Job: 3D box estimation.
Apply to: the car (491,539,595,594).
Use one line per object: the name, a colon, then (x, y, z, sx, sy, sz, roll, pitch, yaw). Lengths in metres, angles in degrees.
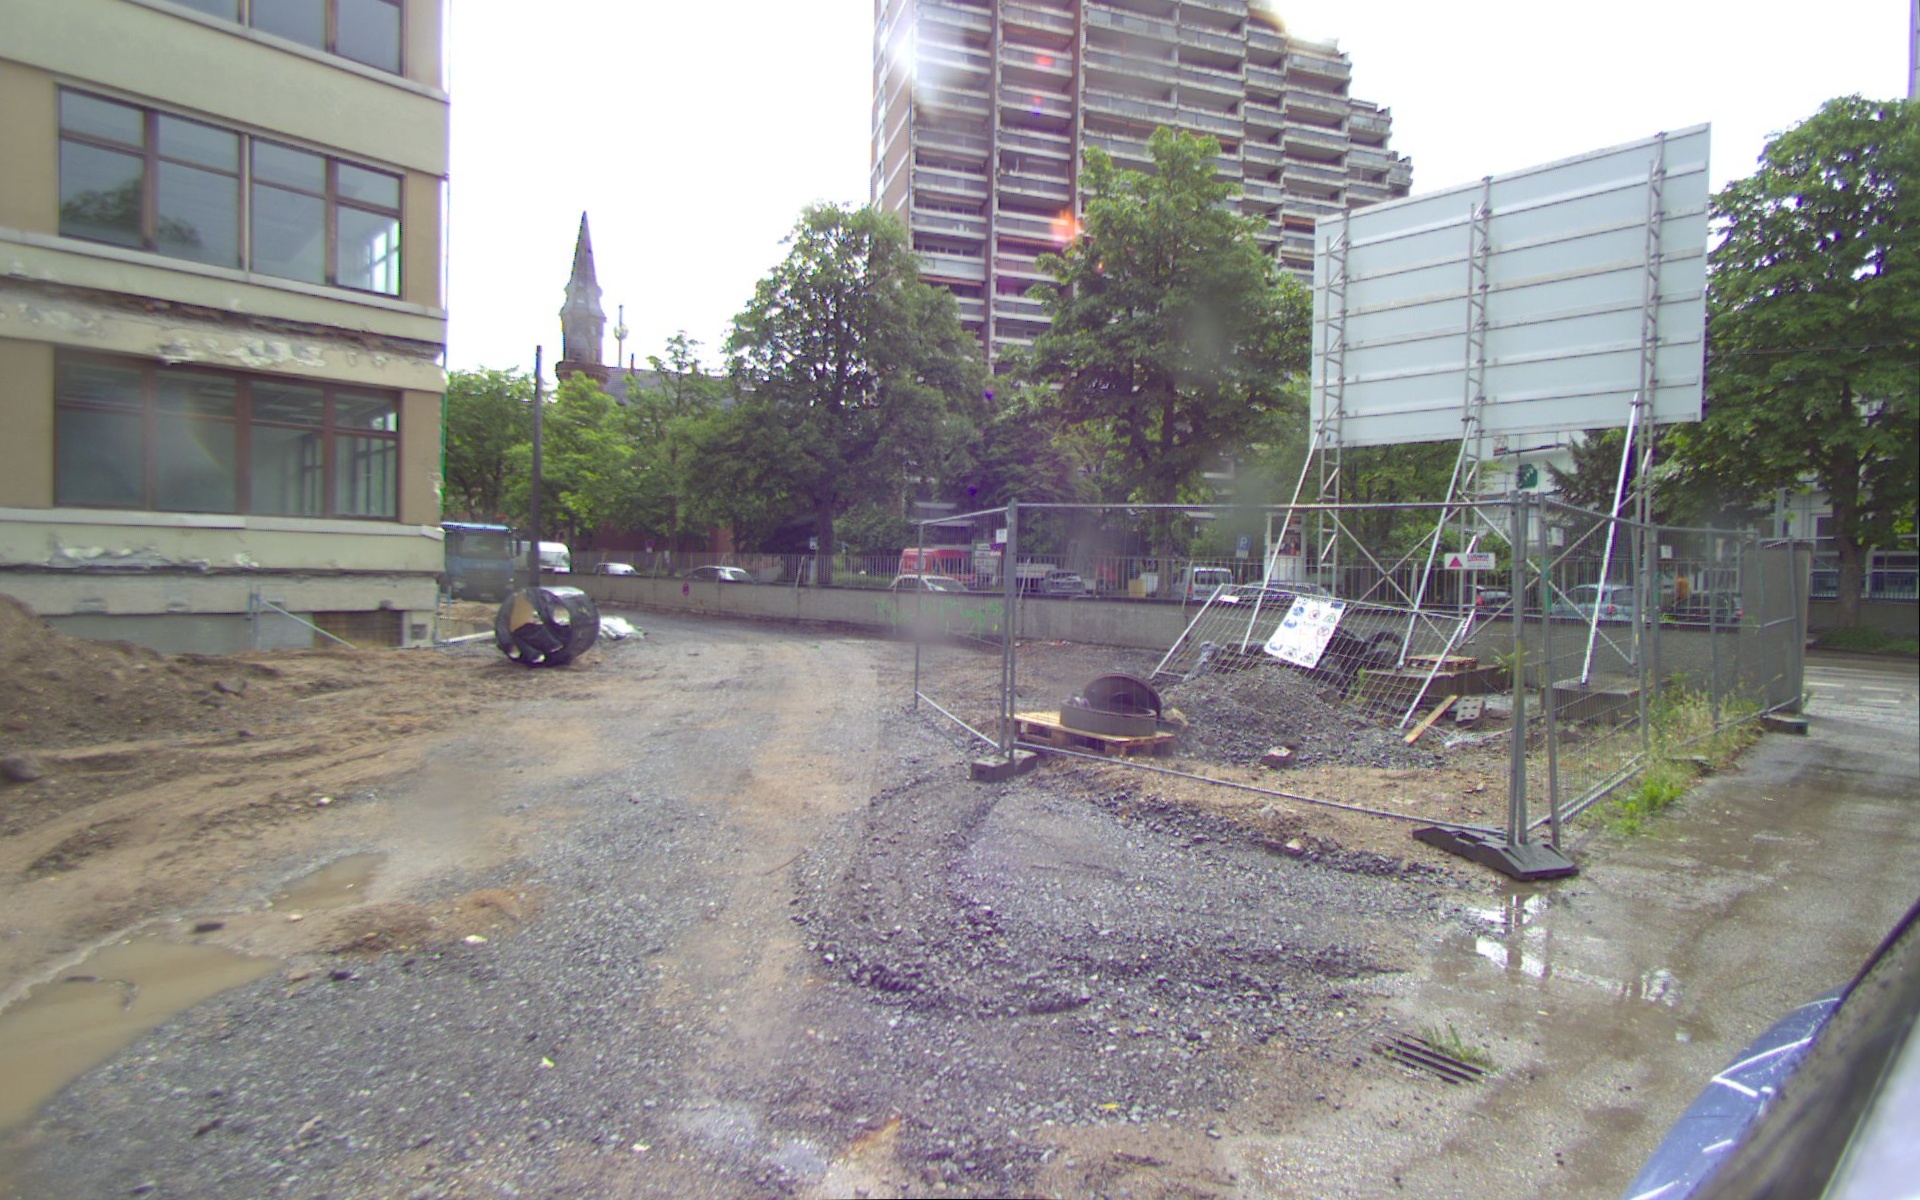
car: (-20.842, -1.633, 50.456, 6.135, 2.505, 2.555, 1, 0, 45)

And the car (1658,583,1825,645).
car: (21.084, 0.327, 27.508, 1.709, 1.487, 3.650, 1, 2, 1)

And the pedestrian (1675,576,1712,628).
pedestrian: (25.821, 0.069, 35.618, 0.695, 1.765, 0.838, 2, -1, 5)

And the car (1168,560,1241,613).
car: (9.603, -0.579, 40.097, 1.902, 1.920, 4.643, 2, 2, 2)

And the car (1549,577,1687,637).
car: (19.090, 0.158, 29.560, 1.677, 1.570, 3.649, 1, 2, 2)

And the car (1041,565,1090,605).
car: (4.723, -0.719, 45.740, 1.752, 1.584, 4.049, 1, 3, 0)

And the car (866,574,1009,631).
car: (-0.703, 0.052, 28.663, 1.858, 1.489, 3.991, 2, 0, -43)

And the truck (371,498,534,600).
truck: (-20.672, -1.910, 40.810, 3.187, 3.572, 9.890, 2, 0, -43)

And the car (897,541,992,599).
car: (-0.840, -1.537, 50.303, 2.256, 2.666, 5.490, 2, 1, -30)

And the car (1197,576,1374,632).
car: (9.843, 0.093, 30.872, 4.750, 1.499, 1.967, 2, 0, 45)

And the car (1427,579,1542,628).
car: (16.904, 0.077, 32.823, 1.736, 1.414, 3.651, 1, 2, -1)
